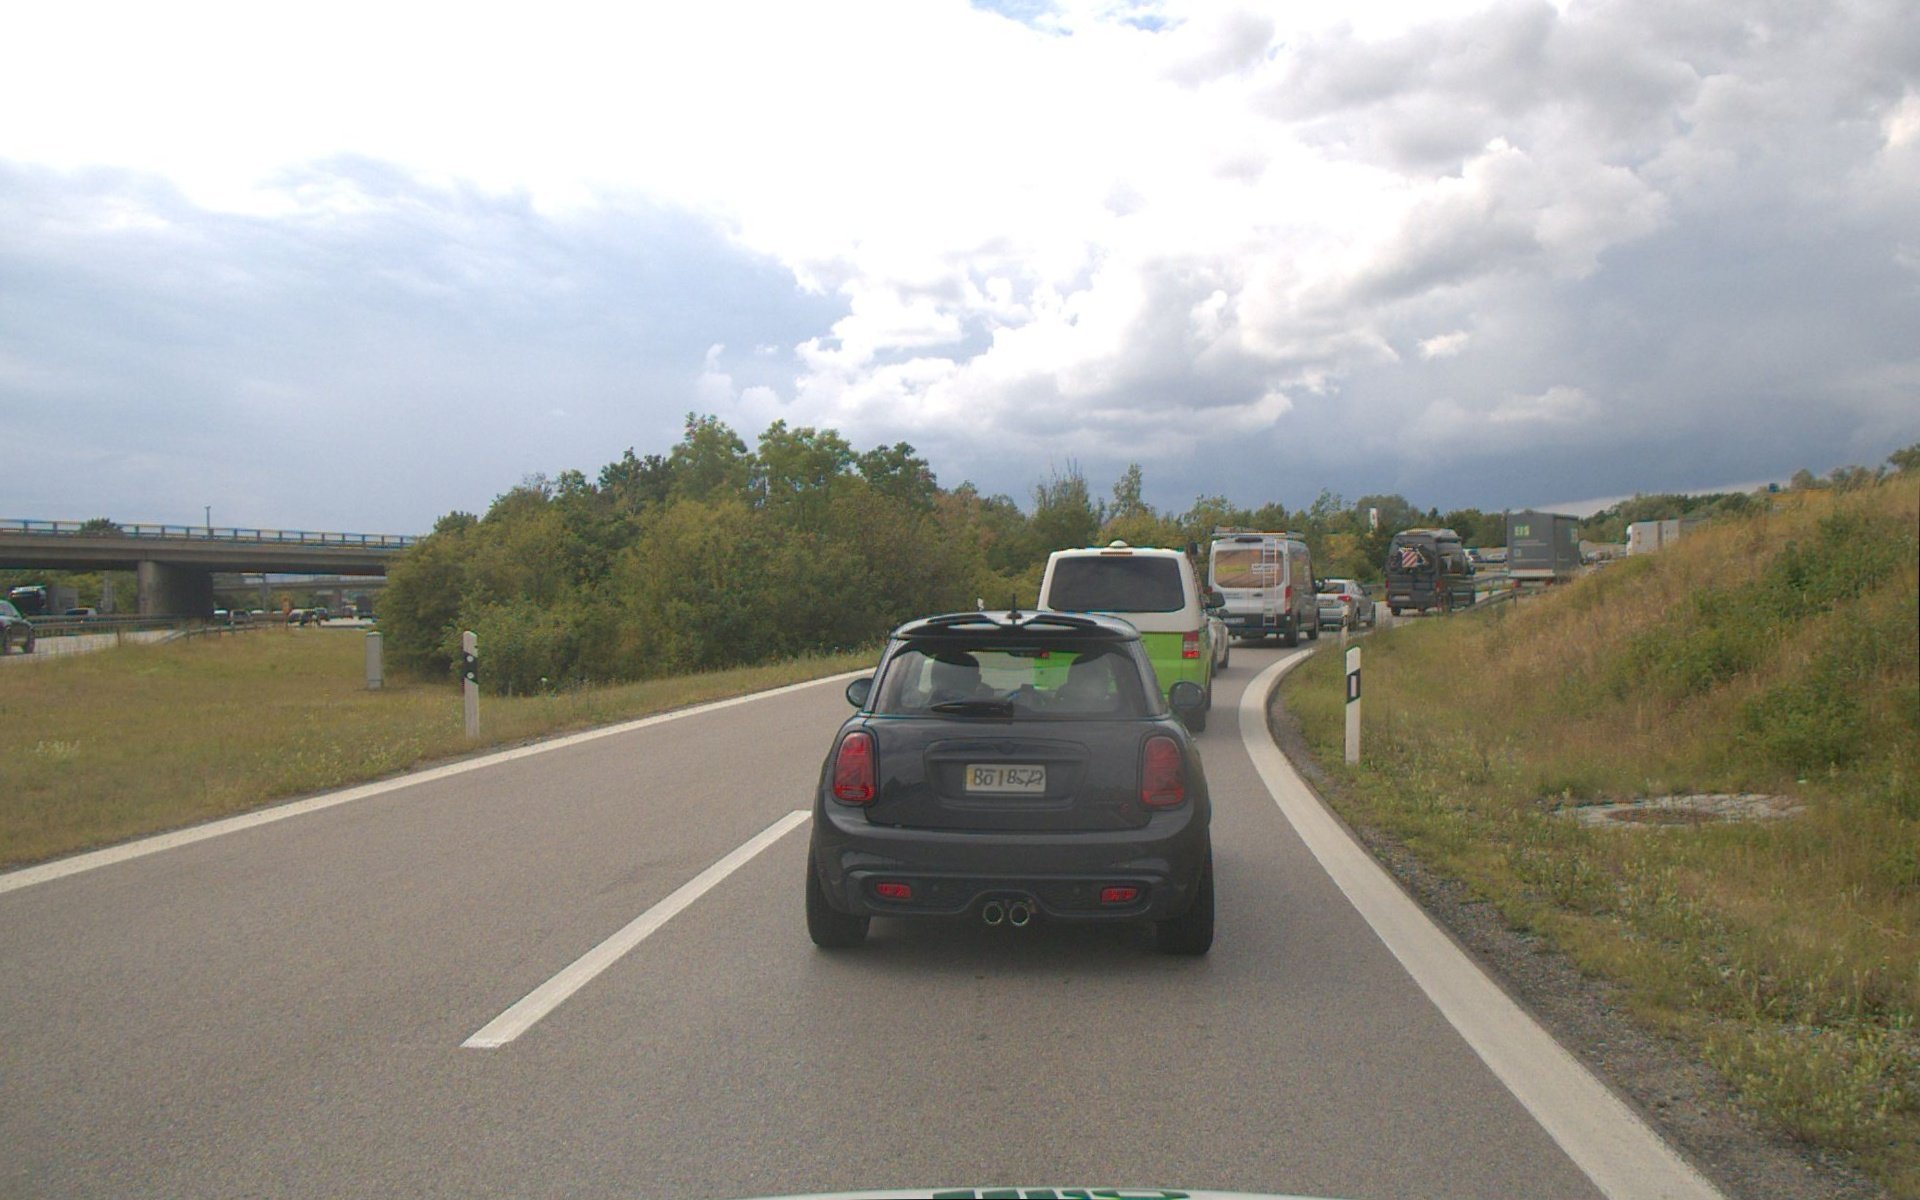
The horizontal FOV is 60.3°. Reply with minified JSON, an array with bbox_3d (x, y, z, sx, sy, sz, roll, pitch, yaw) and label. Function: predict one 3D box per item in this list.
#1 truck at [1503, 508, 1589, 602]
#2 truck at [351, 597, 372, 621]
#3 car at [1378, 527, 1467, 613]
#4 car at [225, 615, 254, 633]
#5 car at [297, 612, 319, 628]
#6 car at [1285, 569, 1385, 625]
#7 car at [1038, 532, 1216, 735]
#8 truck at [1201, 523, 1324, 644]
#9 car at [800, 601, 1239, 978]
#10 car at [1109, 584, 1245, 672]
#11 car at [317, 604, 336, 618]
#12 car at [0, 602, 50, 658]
[{"bbox_3d":[26.817,-1.970,75.540,2.191,3.975,5.994,0,-2,35],"label":"truck"},{"bbox_3d":[-87.108,1.295,240.963,2.428,3.430,7.884,-1,-1,-17],"label":"truck"},{"bbox_3d":[16.012,-1.003,57.165,2.065,2.845,3.993,1,0,29],"label":"car"},{"bbox_3d":[-60.755,1.980,139.517,1.808,1.478,4.355,0,0,-18],"label":"car"},{"bbox_3d":[-62.488,1.924,158.593,1.691,1.545,3.978,-1,0,-19],"label":"car"},{"bbox_3d":[10.917,-0.075,47.955,1.831,1.536,3.994,0,0,28],"label":"car"},{"bbox_3d":[2.004,0.347,18.887,1.746,2.049,4.003,1,0,10],"label":"car"},{"bbox_3d":[7.352,-0.390,39.783,2.133,2.705,5.110,0,0,19],"label":"truck"},{"bbox_3d":[0.331,0.746,8.285,1.691,1.438,3.726,1,-1,3],"label":"car"},{"bbox_3d":[3.843,0.464,28.852,1.725,1.423,3.727,0,0,17],"label":"car"},{"bbox_3d":[-81.639,1.431,213.169,1.962,1.774,4.806,-1,0,-17],"label":"car"},{"bbox_3d":[-31.907,0.973,54.832,1.961,1.792,4.902,0,0,-16],"label":"car"}]
